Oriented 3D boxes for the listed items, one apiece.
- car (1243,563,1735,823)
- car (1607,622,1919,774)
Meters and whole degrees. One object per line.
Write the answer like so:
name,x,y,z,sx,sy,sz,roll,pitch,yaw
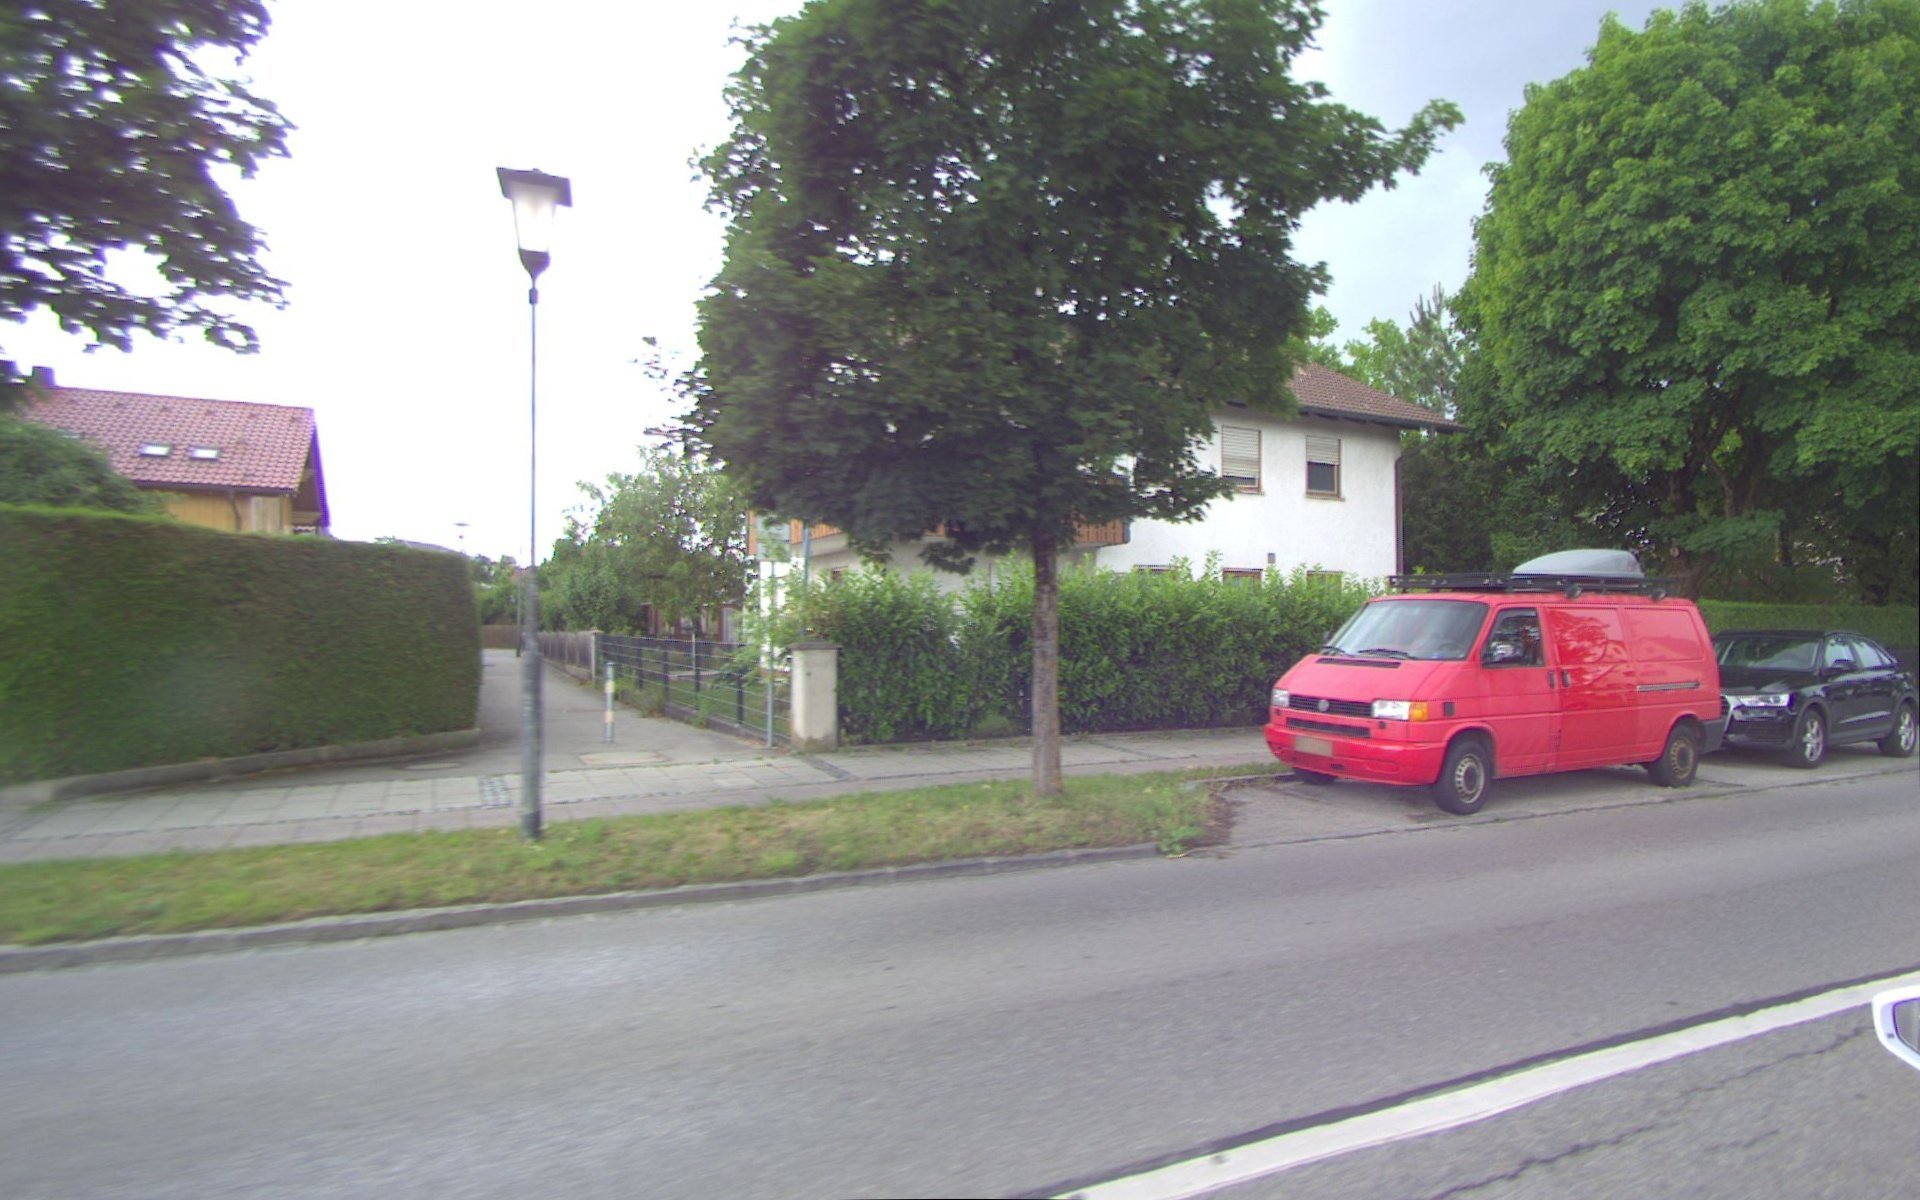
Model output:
car,5.320,0.758,9.924,4.983,2.057,1.822,1,0,-28
car,10.291,1.107,12.711,4.186,1.619,1.764,1,0,-29
